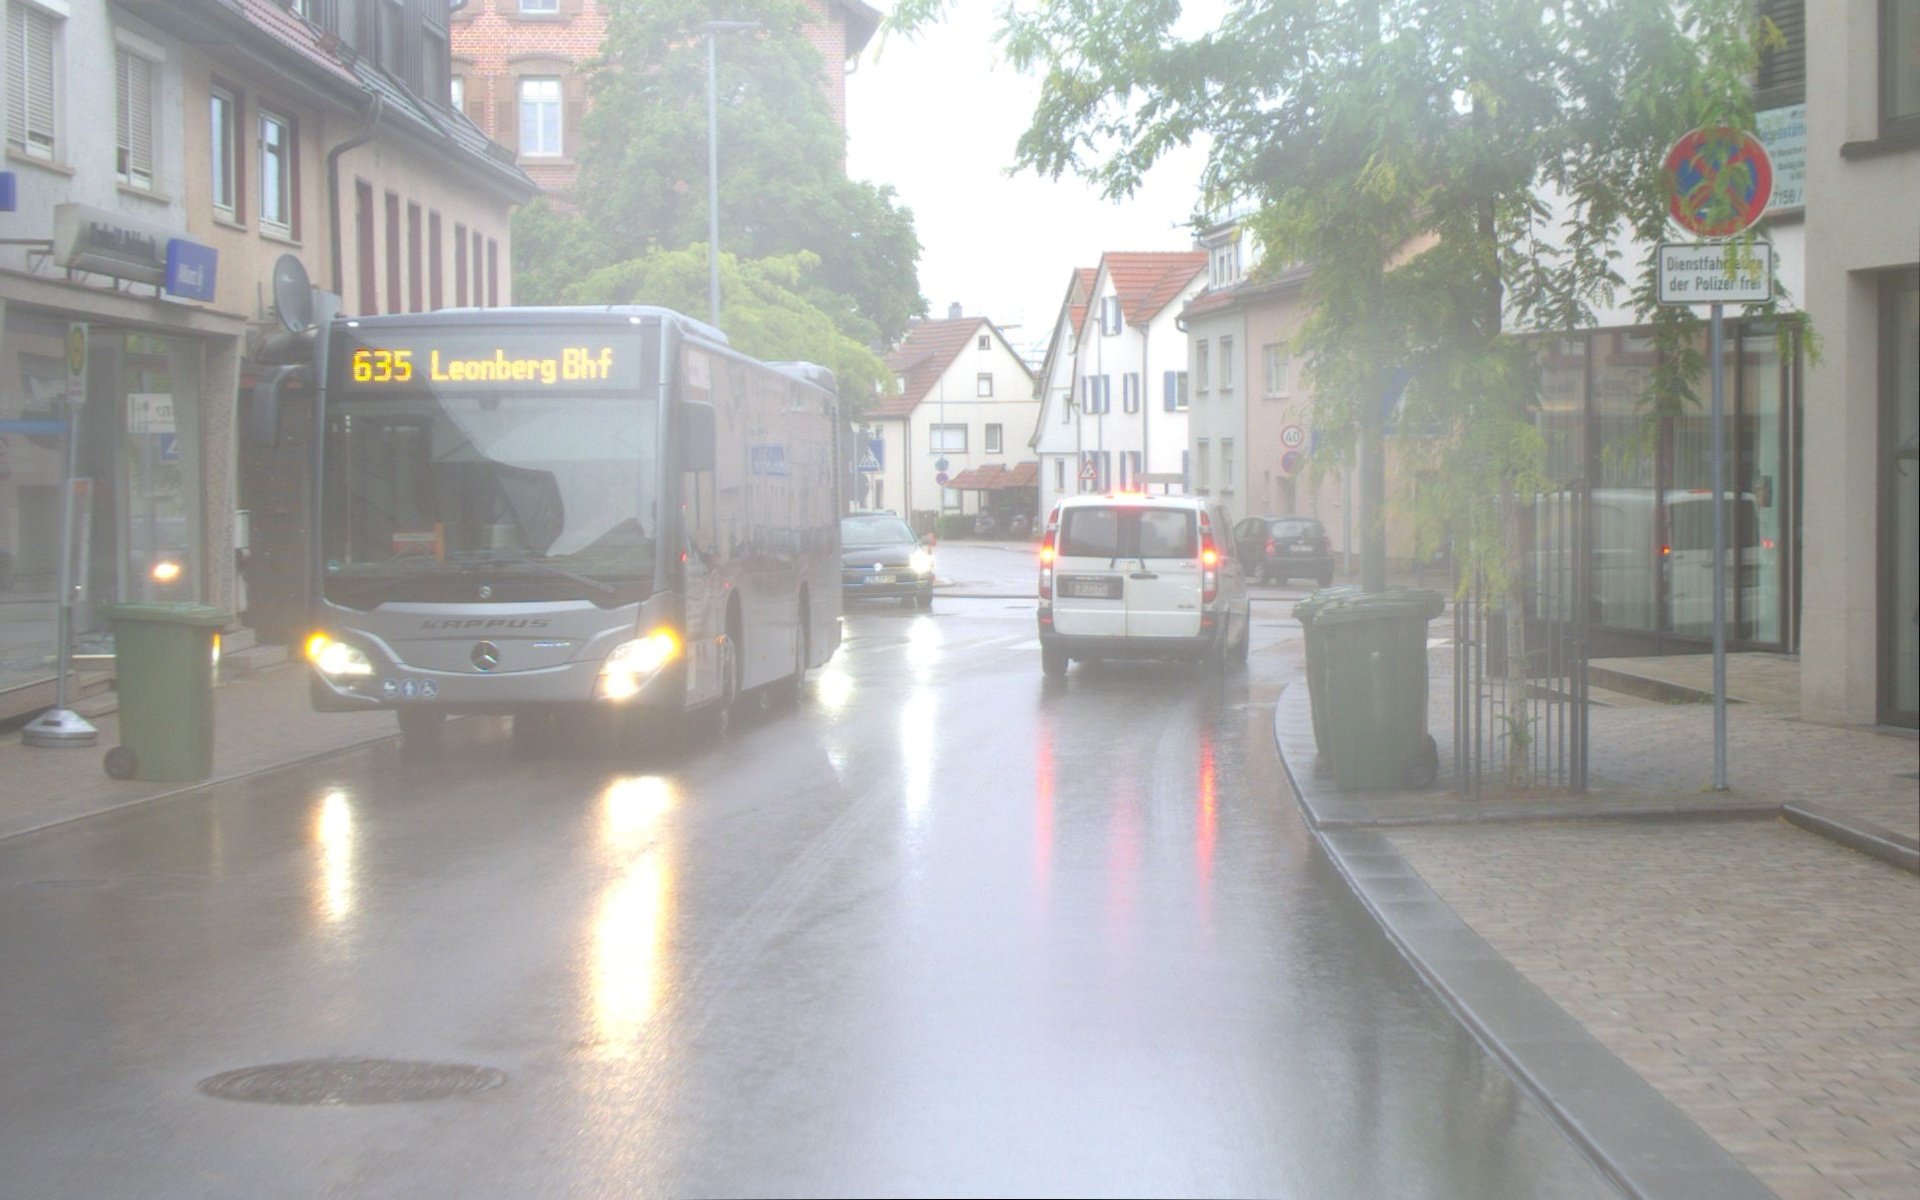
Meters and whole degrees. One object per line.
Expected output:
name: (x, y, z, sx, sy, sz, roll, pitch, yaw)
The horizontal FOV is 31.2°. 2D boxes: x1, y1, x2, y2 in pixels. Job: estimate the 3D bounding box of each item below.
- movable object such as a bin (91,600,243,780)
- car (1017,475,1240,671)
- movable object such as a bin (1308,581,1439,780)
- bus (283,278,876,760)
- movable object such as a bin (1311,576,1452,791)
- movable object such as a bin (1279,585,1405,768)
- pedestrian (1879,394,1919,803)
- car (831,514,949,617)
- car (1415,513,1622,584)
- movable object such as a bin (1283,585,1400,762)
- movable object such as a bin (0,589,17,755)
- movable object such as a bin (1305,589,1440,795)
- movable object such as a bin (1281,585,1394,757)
movable object such as a bin: (-4.811, 0.539, 20.885, 0.740, 1.056, 0.726, 1, 1, 0)
car: (1.850, -0.290, 36.148, 2.153, 1.892, 4.924, 1, 1, 5)
movable object such as a bin: (2.496, 0.479, 20.716, 0.752, 1.167, 0.630, -1, 1, 8)
bus: (-2.594, -0.665, 27.582, 2.724, 3.069, 10.945, 1, 1, 4)
movable object such as a bin: (2.352, 0.457, 19.169, 0.752, 1.167, 0.630, -1, 1, 8)
movable object such as a bin: (2.399, 0.475, 21.650, 0.762, 1.114, 0.624, 1, 1, 5)
pedestrian: (5.145, -0.008, 17.012, 0.867, 2.007, 1.083, 1, 0, -1)
car: (-1.074, -0.587, 54.538, 1.786, 1.502, 4.469, 0, 2, 0)
car: (12.108, -1.108, 74.623, 3.986, 1.481, 2.001, 1, 1, -10)
movable object such as a bin: (2.466, 0.469, 22.261, 0.724, 1.114, 0.576, 1, 1, 5)
movable object such as a bin: (-6.530, 0.458, 21.995, 0.793, 1.056, 0.702, 1, 1, 0)
movable object such as a bin: (2.409, 0.528, 20.061, 0.752, 1.167, 0.630, -1, 1, 8)
movable object such as a bin: (2.504, 0.464, 22.846, 0.724, 1.114, 0.576, 1, 1, 5)
